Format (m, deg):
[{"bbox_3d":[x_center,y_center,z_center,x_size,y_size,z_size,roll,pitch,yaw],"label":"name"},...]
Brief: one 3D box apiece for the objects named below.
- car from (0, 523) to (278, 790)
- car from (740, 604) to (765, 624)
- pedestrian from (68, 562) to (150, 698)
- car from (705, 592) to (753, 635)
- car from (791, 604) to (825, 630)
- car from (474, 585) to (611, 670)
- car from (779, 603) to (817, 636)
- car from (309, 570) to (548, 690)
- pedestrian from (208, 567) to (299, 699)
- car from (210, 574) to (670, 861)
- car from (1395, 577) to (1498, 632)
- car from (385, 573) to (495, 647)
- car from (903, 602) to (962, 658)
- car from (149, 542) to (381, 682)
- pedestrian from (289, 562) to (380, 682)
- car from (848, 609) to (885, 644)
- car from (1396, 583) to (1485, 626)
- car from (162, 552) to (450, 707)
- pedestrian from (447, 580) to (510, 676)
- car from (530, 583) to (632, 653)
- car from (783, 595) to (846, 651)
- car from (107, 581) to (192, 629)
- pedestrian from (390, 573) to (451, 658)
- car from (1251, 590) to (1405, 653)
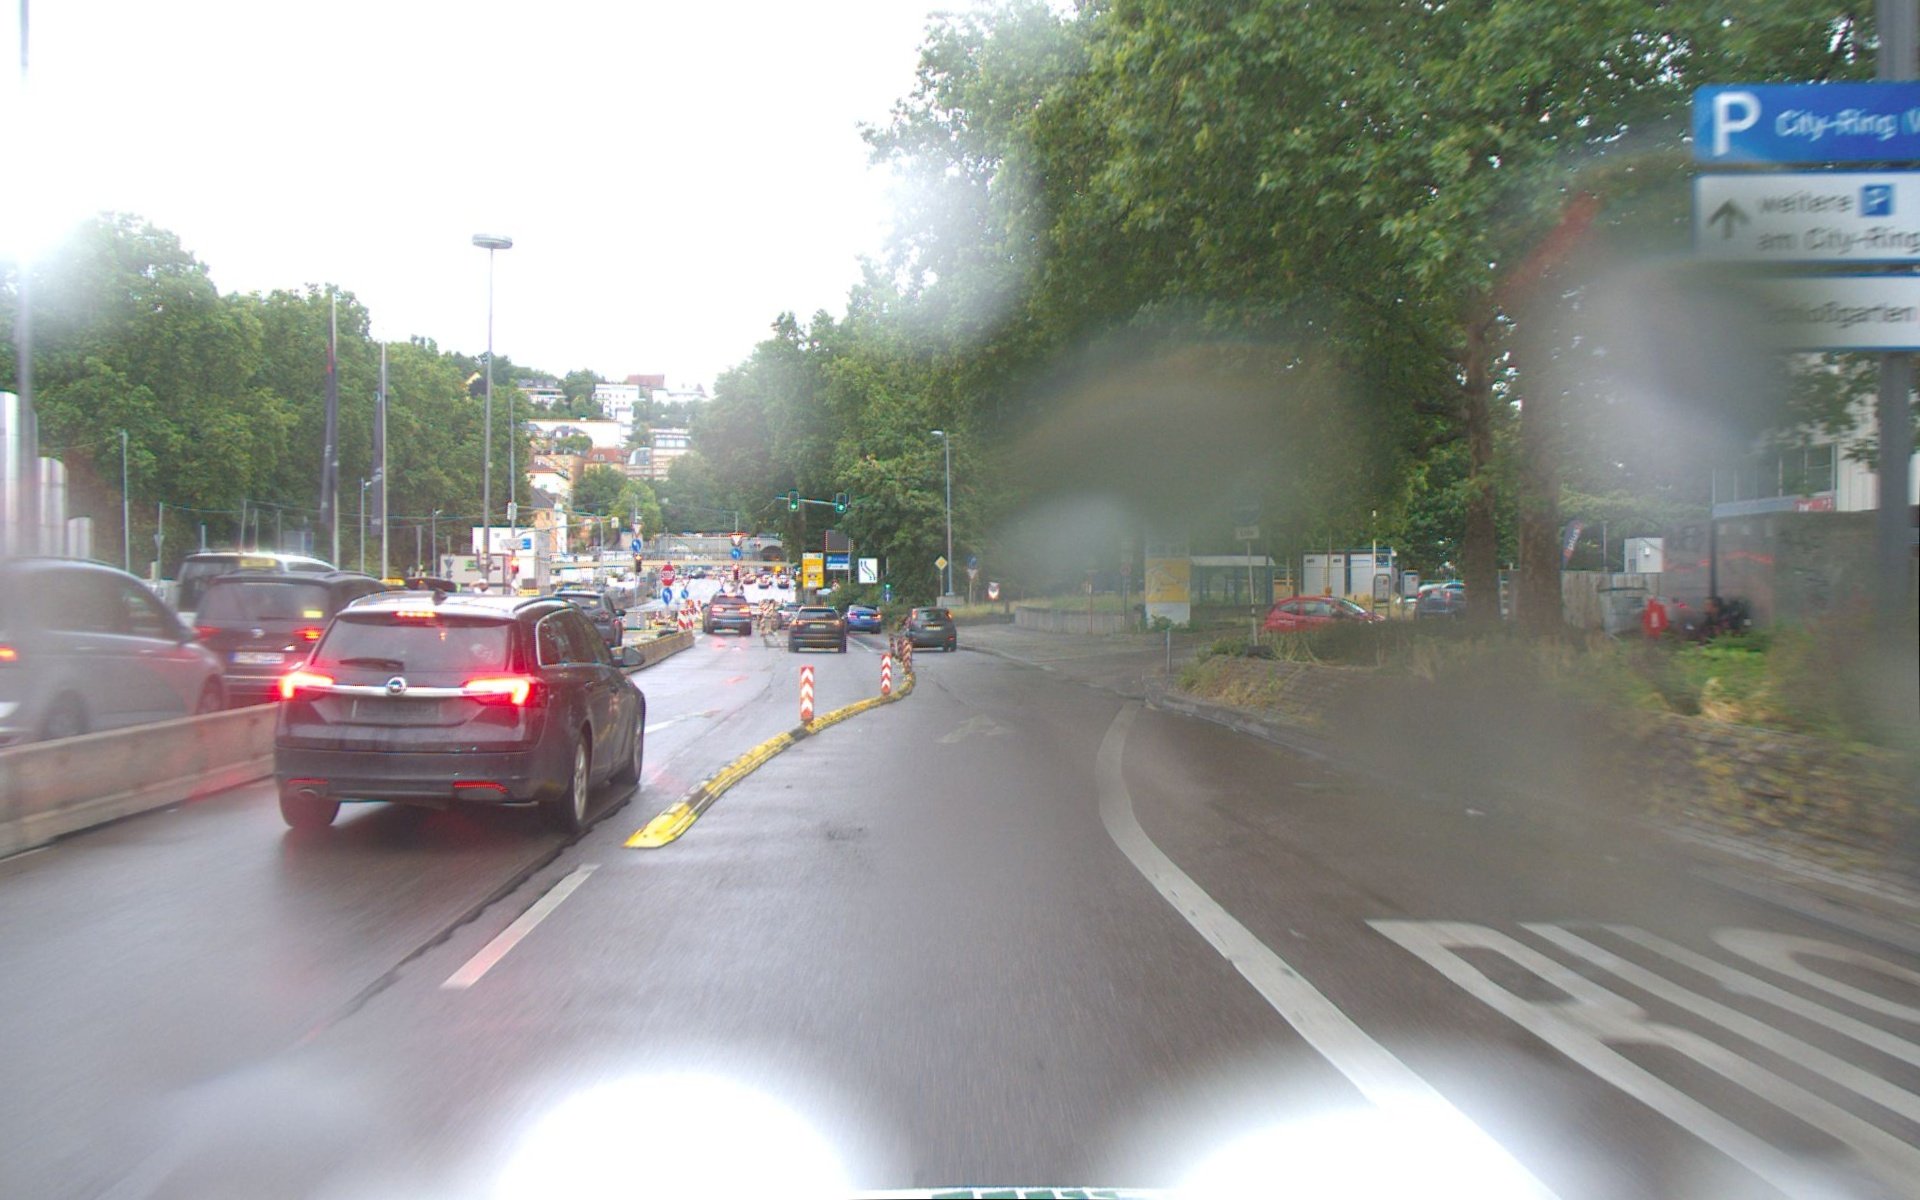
[{"bbox_3d":[-7.133,0.366,13.063,1.788,1.726,4.769,1,-1,-4],"label":"car"},{"bbox_3d":[-17.241,1.137,137.313,1.781,1.602,3.989,1,-1,-11],"label":"car"},{"bbox_3d":[-11.452,0.405,22.275,0.621,1.784,0.822,1,-1,2],"label":"pedestrian"},{"bbox_3d":[-10.436,0.611,74.570,1.958,1.859,3.990,1,-1,-11],"label":"car"},{"bbox_3d":[-10.189,1.119,110.851,1.608,1.653,3.779,1,-1,-16],"label":"car"},{"bbox_3d":[-8.603,0.540,34.498,1.954,1.595,4.871,-1,0,-4],"label":"car"},{"bbox_3d":[-8.996,1.080,92.004,1.866,1.747,3.998,1,-1,-3],"label":"car"},{"bbox_3d":[-7.614,0.416,24.261,1.932,1.537,5.004,1,-1,-1],"label":"car"},{"bbox_3d":[-9.971,0.452,23.387,0.816,1.815,1.028,0,0,1],"label":"pedestrian"},{"bbox_3d":[-3.208,0.638,11.302,1.840,1.534,4.848,1,0,-3],"label":"car"},{"bbox_3d":[19.272,0.196,65.372,2.096,2.049,4.619,1,-1,42],"label":"car"},{"bbox_3d":[-12.461,0.224,39.894,1.681,1.658,4.051,1,0,-5],"label":"car"},{"bbox_3d":[-0.941,0.958,54.671,1.815,1.747,3.998,1,-1,-3],"label":"car"},{"bbox_3d":[-11.282,0.203,27.319,1.955,2.049,5.363,1,-1,-5],"label":"car"},{"bbox_3d":[-9.087,0.313,24.064,1.004,1.704,0.836,0,0,-1],"label":"pedestrian"},{"bbox_3d":[-4.550,1.278,80.814,1.640,1.609,3.239,1,-1,-1],"label":"car"},{"bbox_3d":[21.518,0.229,73.942,4.422,1.812,1.918,2,-1,-45],"label":"car"},{"bbox_3d":[-7.326,0.318,19.040,1.788,1.537,4.486,1,-1,-4],"label":"car"},{"bbox_3d":[-10.484,0.596,36.046,1.004,2.049,0.836,0,0,24],"label":"pedestrian"},{"bbox_3d":[-9.080,0.424,39.927,1.956,1.557,4.145,-1,0,-7],"label":"car"},{"bbox_3d":[-4.636,0.713,53.121,1.794,1.715,4.132,0,0,-2],"label":"car"},{"bbox_3d":[-49.397,0.303,100.949,2.335,2.749,5.788,-1,0,-1],"label":"car"},{"bbox_3d":[-11.000,0.314,33.765,1.004,1.712,0.835,0,0,-4],"label":"pedestrian"},{"bbox_3d":[9.579,0.552,43.142,3.549,1.532,1.726,1,-1,38],"label":"car"}]
